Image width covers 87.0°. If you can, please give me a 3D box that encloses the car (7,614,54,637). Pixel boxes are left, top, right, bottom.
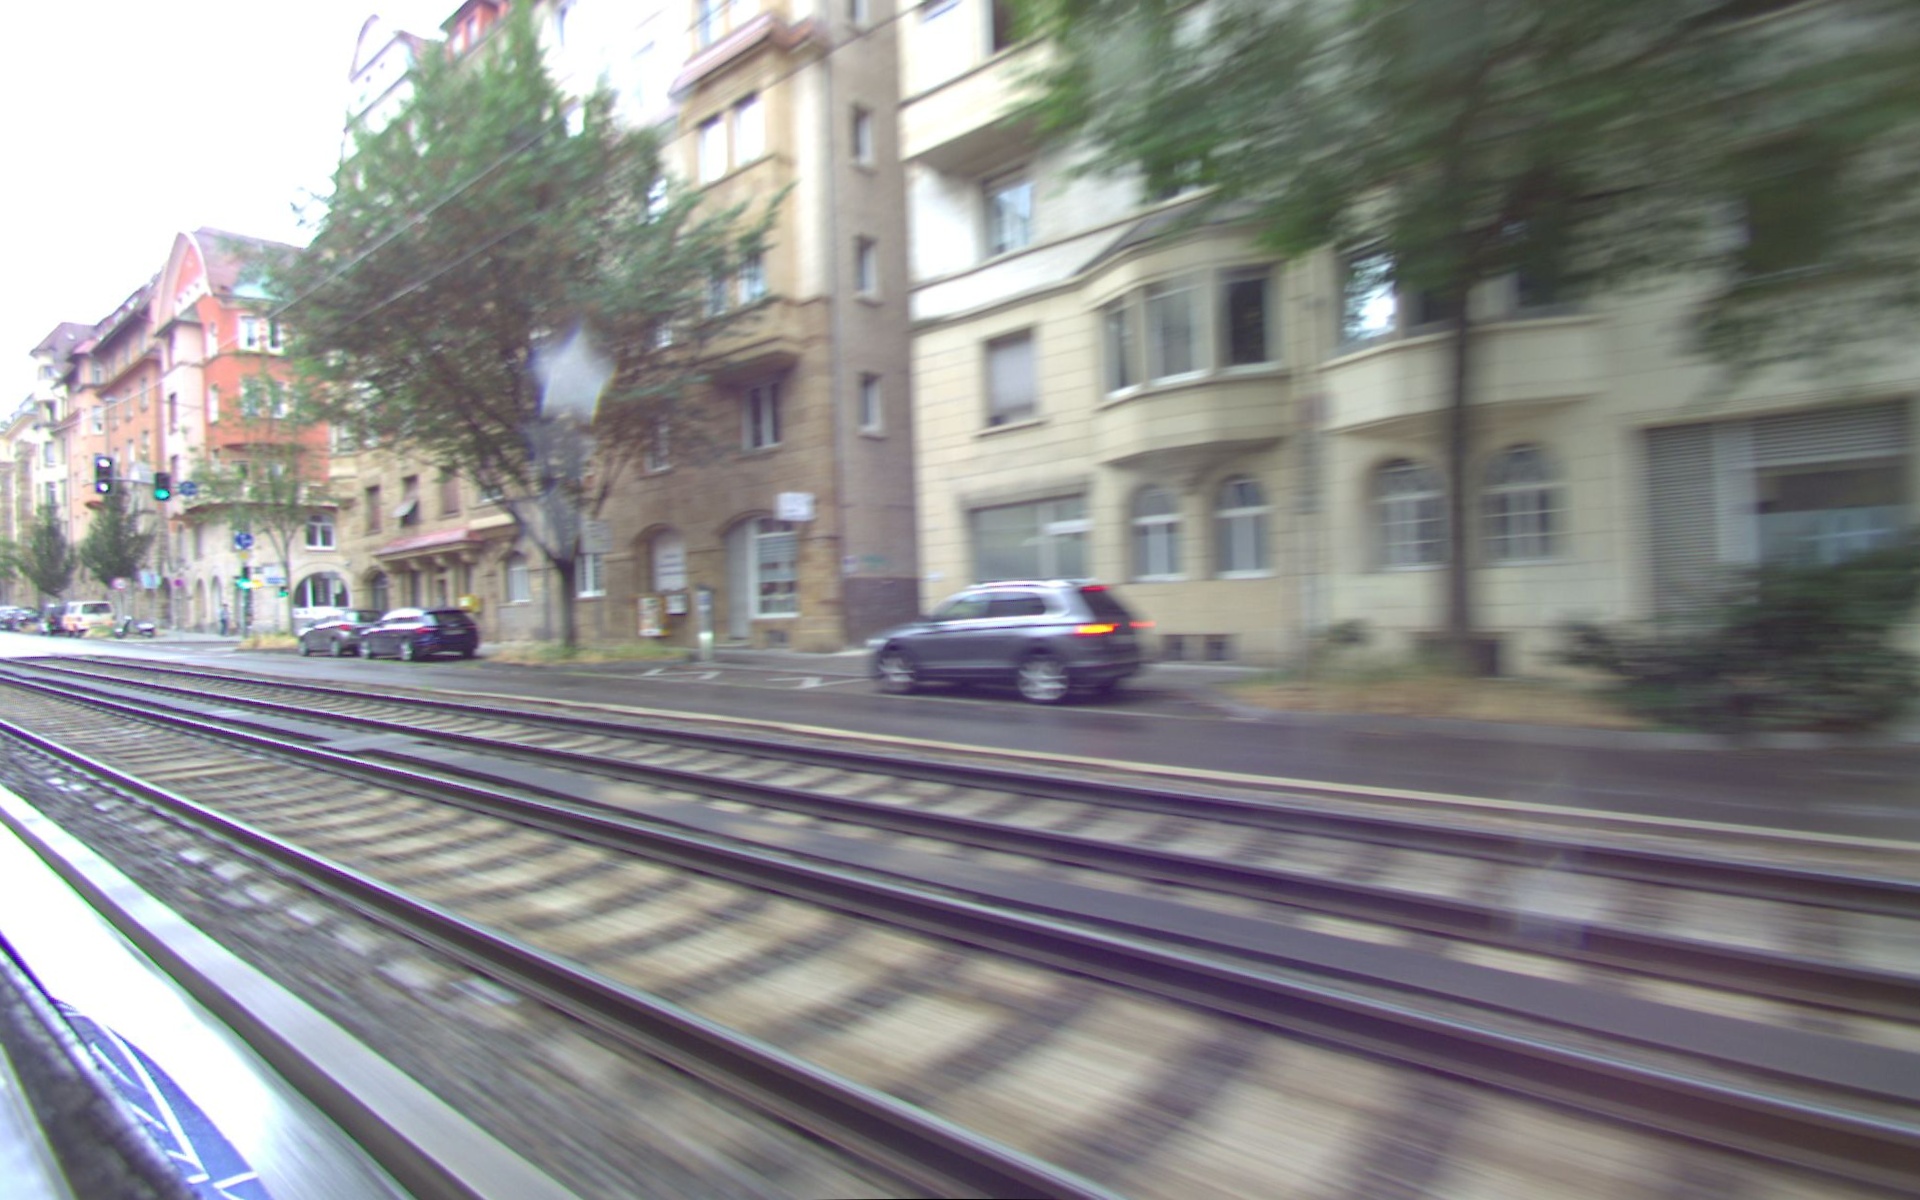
[{"bbox_3d":[-63.946,1.728,69.617,3.689,1.414,1.739,0,2,38],"label":"car"}]

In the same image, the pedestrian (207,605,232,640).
[{"bbox_3d":[-38.034,1.149,52.003,0.892,1.732,0.710,0,5,40],"label":"pedestrian"}]

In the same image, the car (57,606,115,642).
[{"bbox_3d":[-49.327,1.314,57.109,4.471,1.945,1.711,0,0,39],"label":"car"}]

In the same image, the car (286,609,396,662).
[{"bbox_3d":[-19.638,1.086,32.051,4.171,1.541,1.673,0,0,39],"label":"car"}]

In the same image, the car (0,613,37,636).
[{"bbox_3d":[-67.940,1.725,72.647,4.592,1.502,1.738,0,2,39],"label":"car"}]

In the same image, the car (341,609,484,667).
[{"bbox_3d":[-15.441,1.010,28.417,4.973,1.471,1.763,0,0,39],"label":"car"}]

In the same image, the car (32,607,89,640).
[{"bbox_3d":[-54.780,1.401,61.587,4.828,1.945,1.887,0,0,40],"label":"car"}]

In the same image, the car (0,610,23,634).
[{"bbox_3d":[-72.319,1.651,76.351,4.256,1.684,1.738,0,3,40],"label":"car"}]

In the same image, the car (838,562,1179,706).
[{"bbox_3d":[0.595,0.443,14.963,4.773,1.755,1.934,-1,2,39],"label":"car"}]

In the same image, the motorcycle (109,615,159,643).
[{"bbox_3d":[-40.997,1.433,50.240,1.754,1.385,0.770,0,0,-18],"label":"motorcycle"}]
